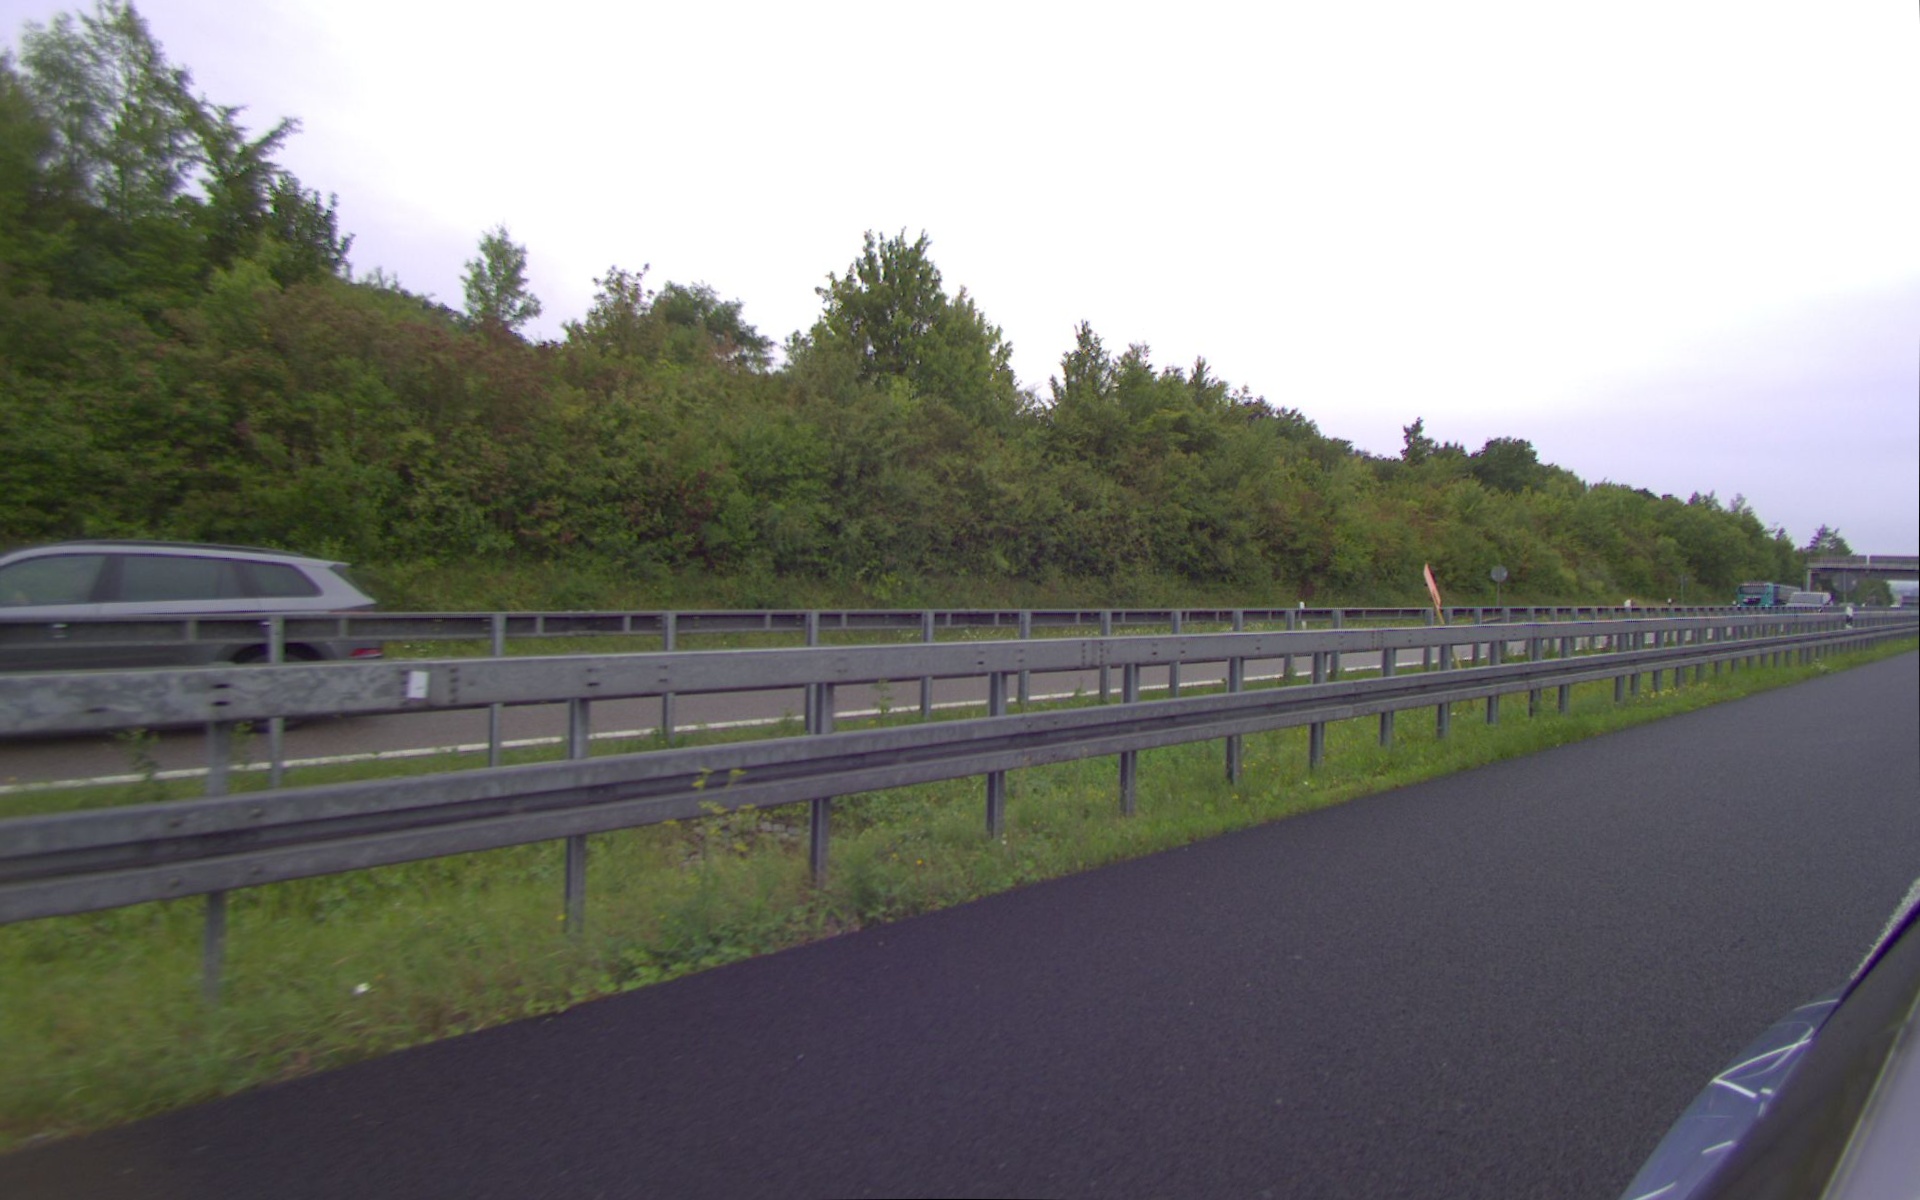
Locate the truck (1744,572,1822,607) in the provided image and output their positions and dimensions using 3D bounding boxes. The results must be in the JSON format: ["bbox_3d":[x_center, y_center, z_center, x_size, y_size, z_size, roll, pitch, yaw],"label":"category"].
[{"bbox_3d":[85.246,-1.047,104.735,13.101,3.460,2.911,0,1,-36],"label":"truck"}]

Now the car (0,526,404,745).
[{"bbox_3d":[-7.567,0.248,8.879,4.395,1.676,2.011,0,1,-42],"label":"car"}]
